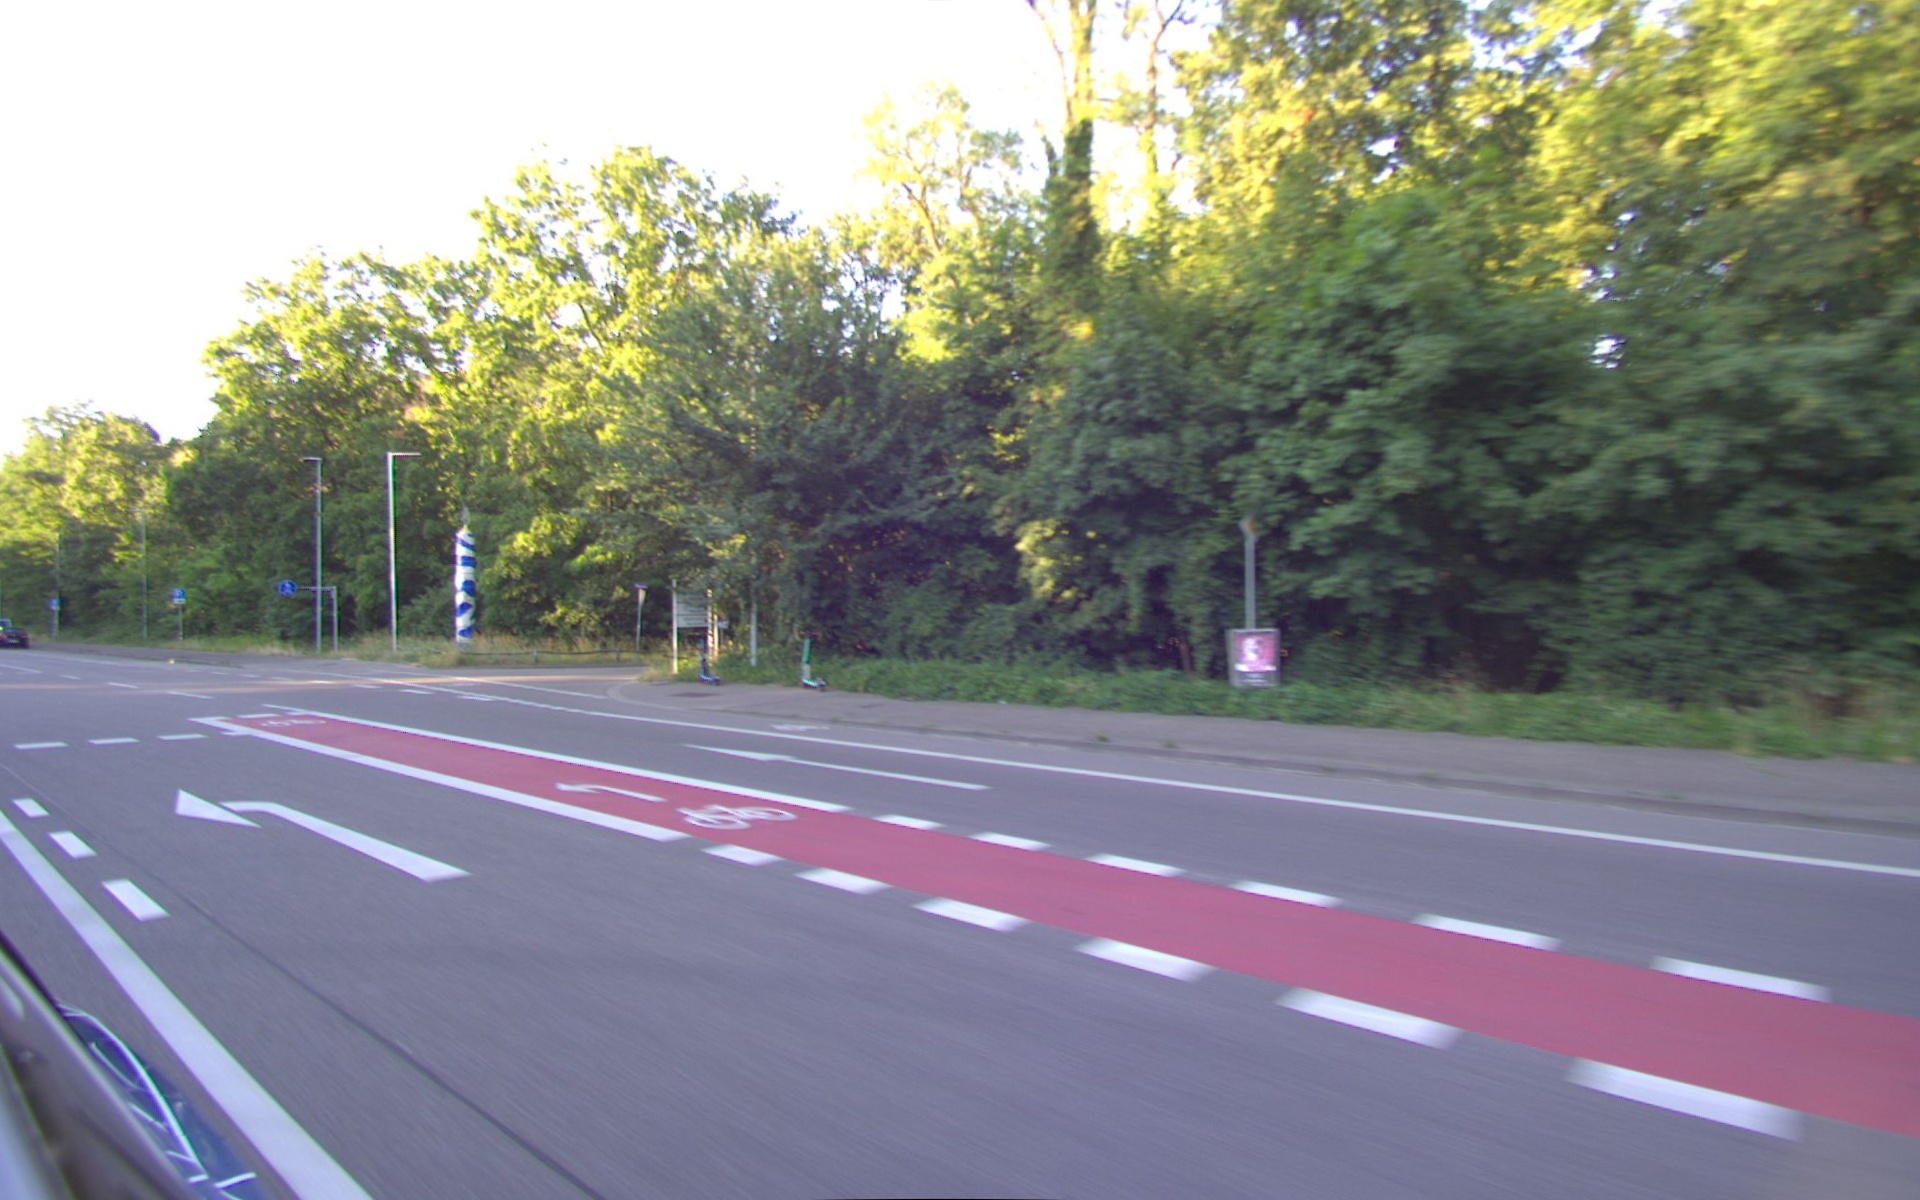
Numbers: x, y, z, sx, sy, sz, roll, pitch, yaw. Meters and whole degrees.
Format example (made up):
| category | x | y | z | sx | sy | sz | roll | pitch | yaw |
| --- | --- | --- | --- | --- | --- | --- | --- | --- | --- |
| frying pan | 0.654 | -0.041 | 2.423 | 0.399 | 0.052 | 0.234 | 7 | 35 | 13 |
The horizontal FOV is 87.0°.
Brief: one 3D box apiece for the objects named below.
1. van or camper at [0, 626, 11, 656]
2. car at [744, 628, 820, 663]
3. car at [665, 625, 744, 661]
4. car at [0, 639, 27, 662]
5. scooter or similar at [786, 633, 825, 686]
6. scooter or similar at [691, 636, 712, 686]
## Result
| category | x | y | z | sx | sy | sz | roll | pitch | yaw |
| --- | --- | --- | --- | --- | --- | --- | --- | --- | --- |
| van or camper | -69.268 | 2.886 | 71.776 | 5.006 | 2.110 | 2.012 | -2 | -4 | 37 |
| car | -8.004 | 2.022 | 45.417 | 3.343 | 1.463 | 1.725 | -2 | -2 | 43 |
| car | -10.813 | 1.806 | 42.789 | 3.343 | 1.463 | 1.725 | -2 | -2 | 43 |
| car | -64.633 | 3.407 | 68.261 | 4.234 | 1.473 | 1.672 | -2 | -3 | 36 |
| scooter or similar | -3.265 | 1.251 | 21.401 | 0.491 | 1.076 | 0.895 | -1 | -2 | 16 |
| scooter or similar | -5.992 | 1.405 | 23.491 | 0.356 | 1.118 | 0.881 | 0 | -2 | -7 |
